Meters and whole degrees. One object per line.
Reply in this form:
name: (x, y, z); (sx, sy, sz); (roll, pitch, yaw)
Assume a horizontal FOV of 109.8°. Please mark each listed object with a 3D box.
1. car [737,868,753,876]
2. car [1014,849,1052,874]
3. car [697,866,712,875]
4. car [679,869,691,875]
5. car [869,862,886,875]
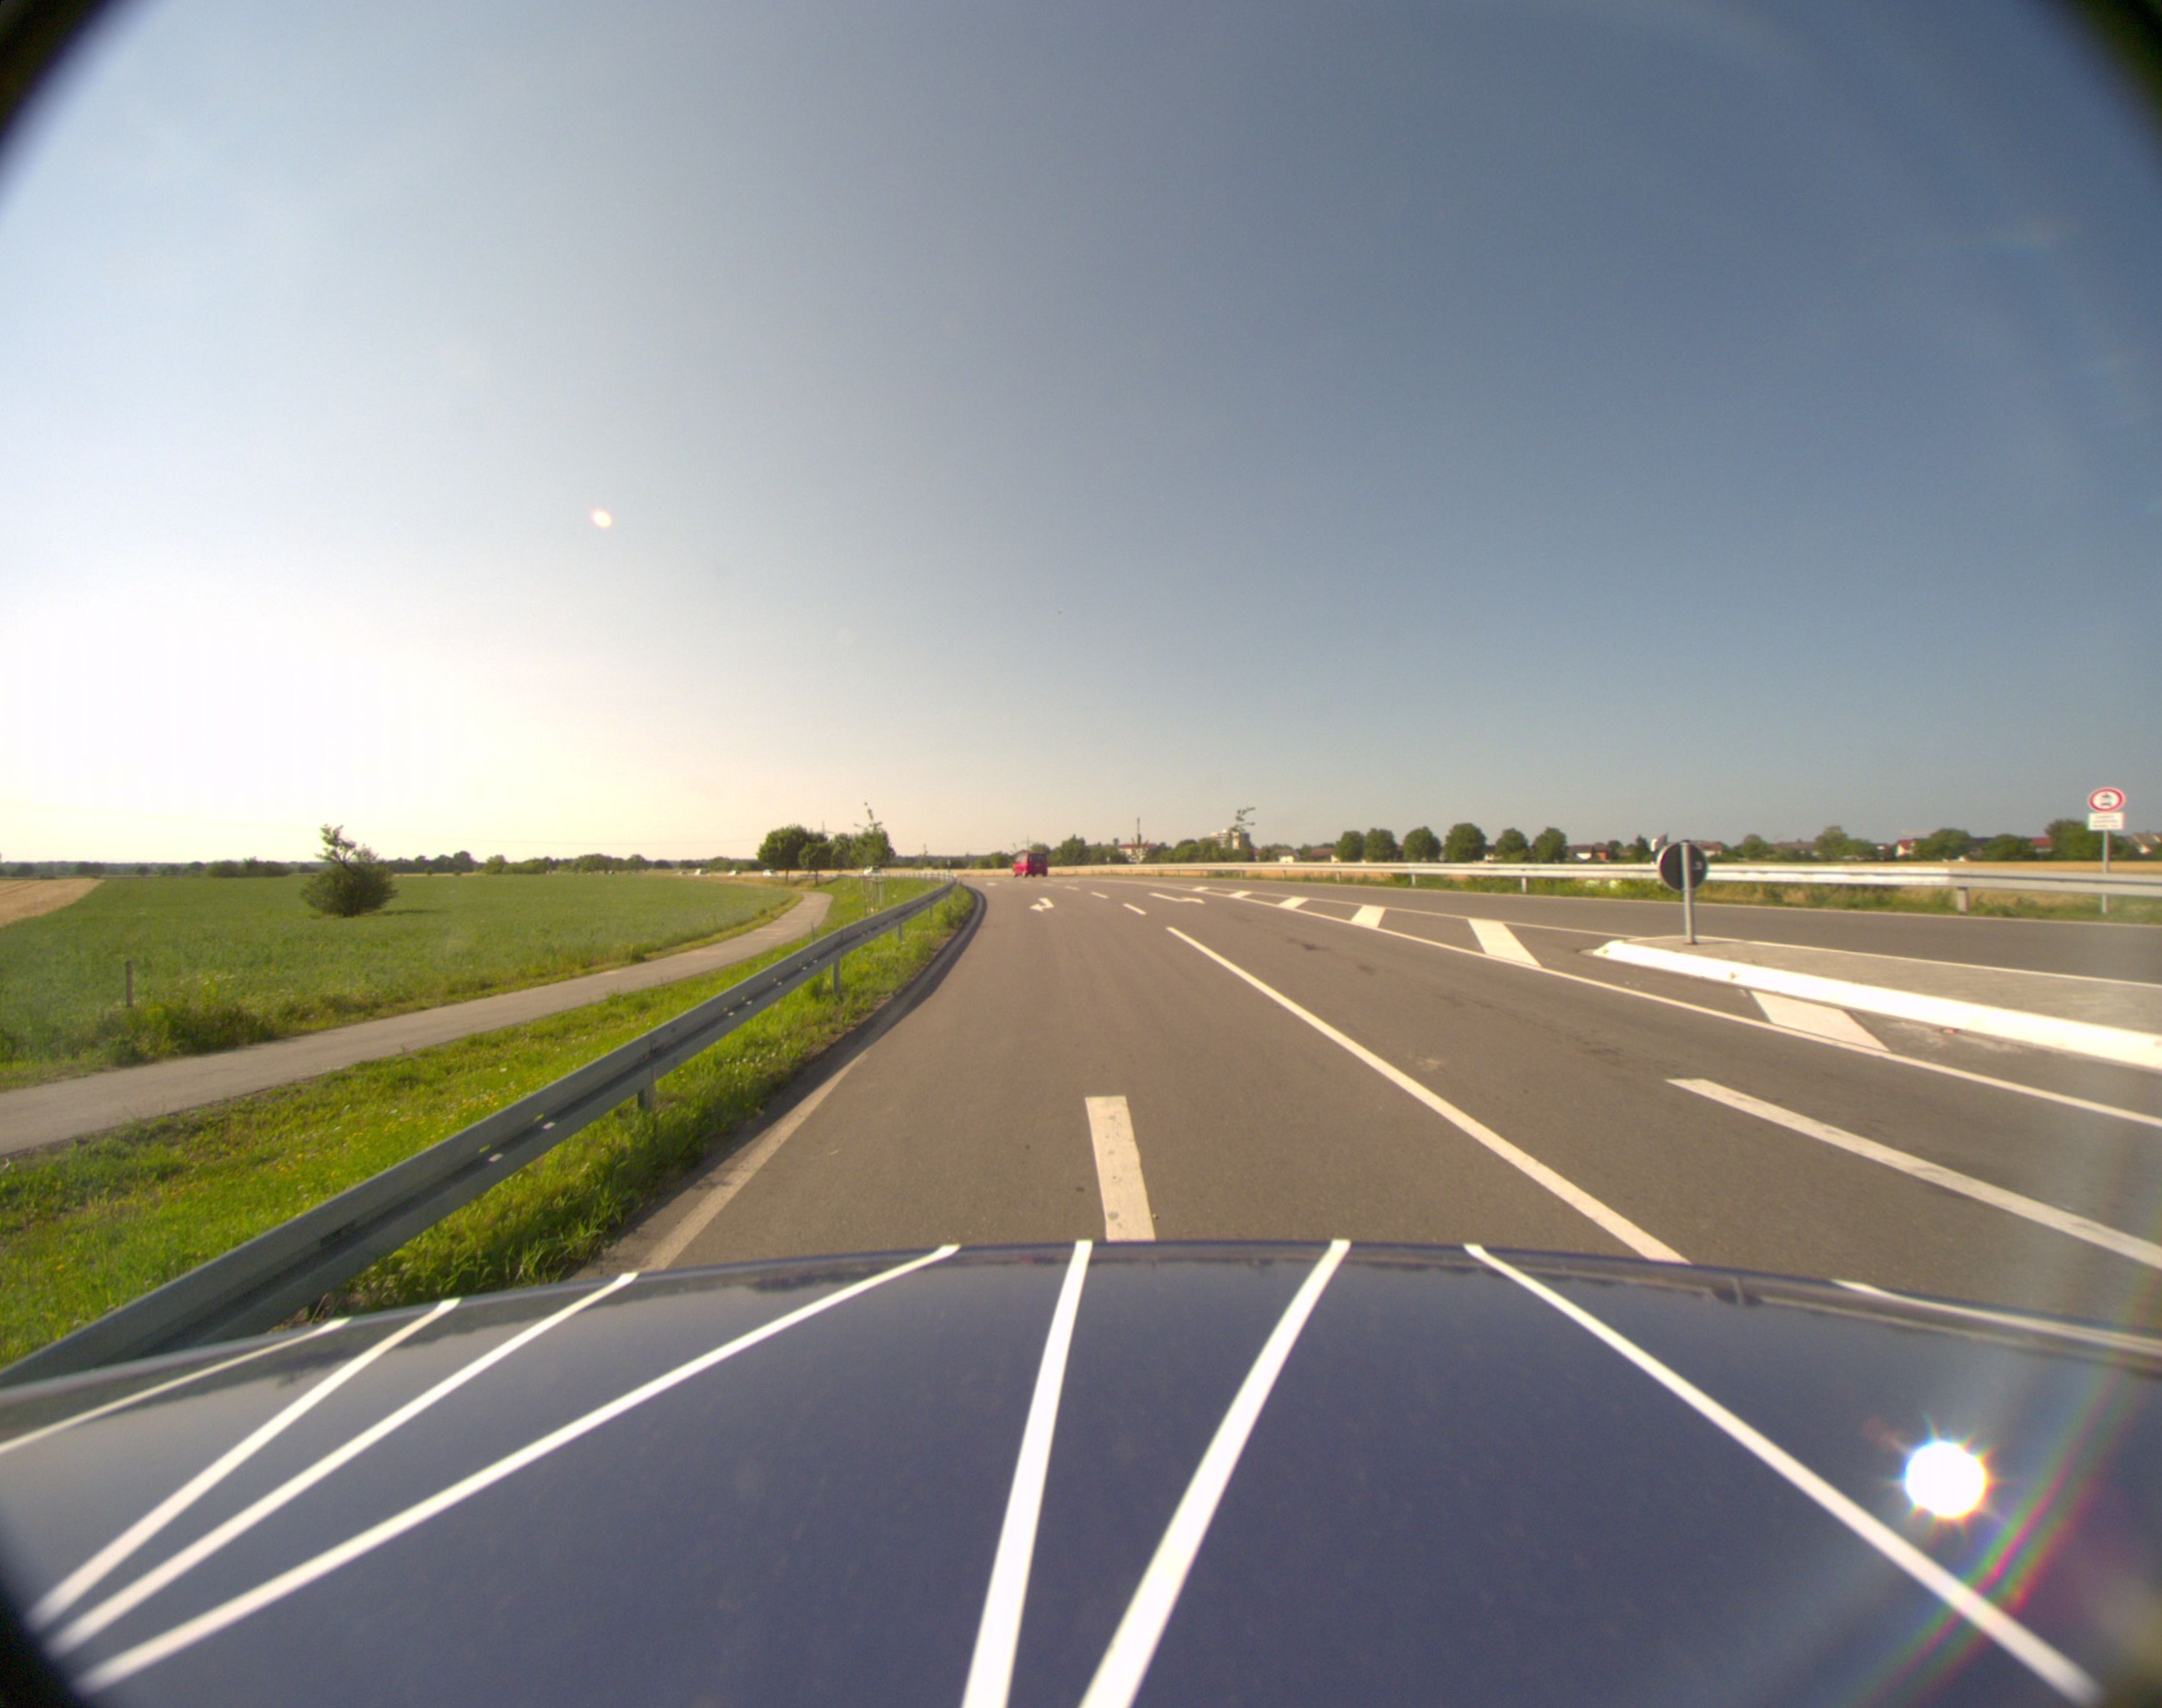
car: (-77.395, 4.227, 174.892); (2.126, 1.484, 5.141); (-2, -2, -38)
car: (-4.029, 0.644, 63.036); (1.841, 1.929, 4.918); (-1, -1, -19)
car: (-97.801, 4.224, 197.214); (2.126, 2.001, 5.141); (-2, -2, -43)
car: (-109.508, 4.897, 210.110); (1.804, 1.439, 4.694); (-2, -3, -45)
car: (-31.867, 2.243, 118.814); (1.699, 1.664, 4.851); (-2, 4, -25)
